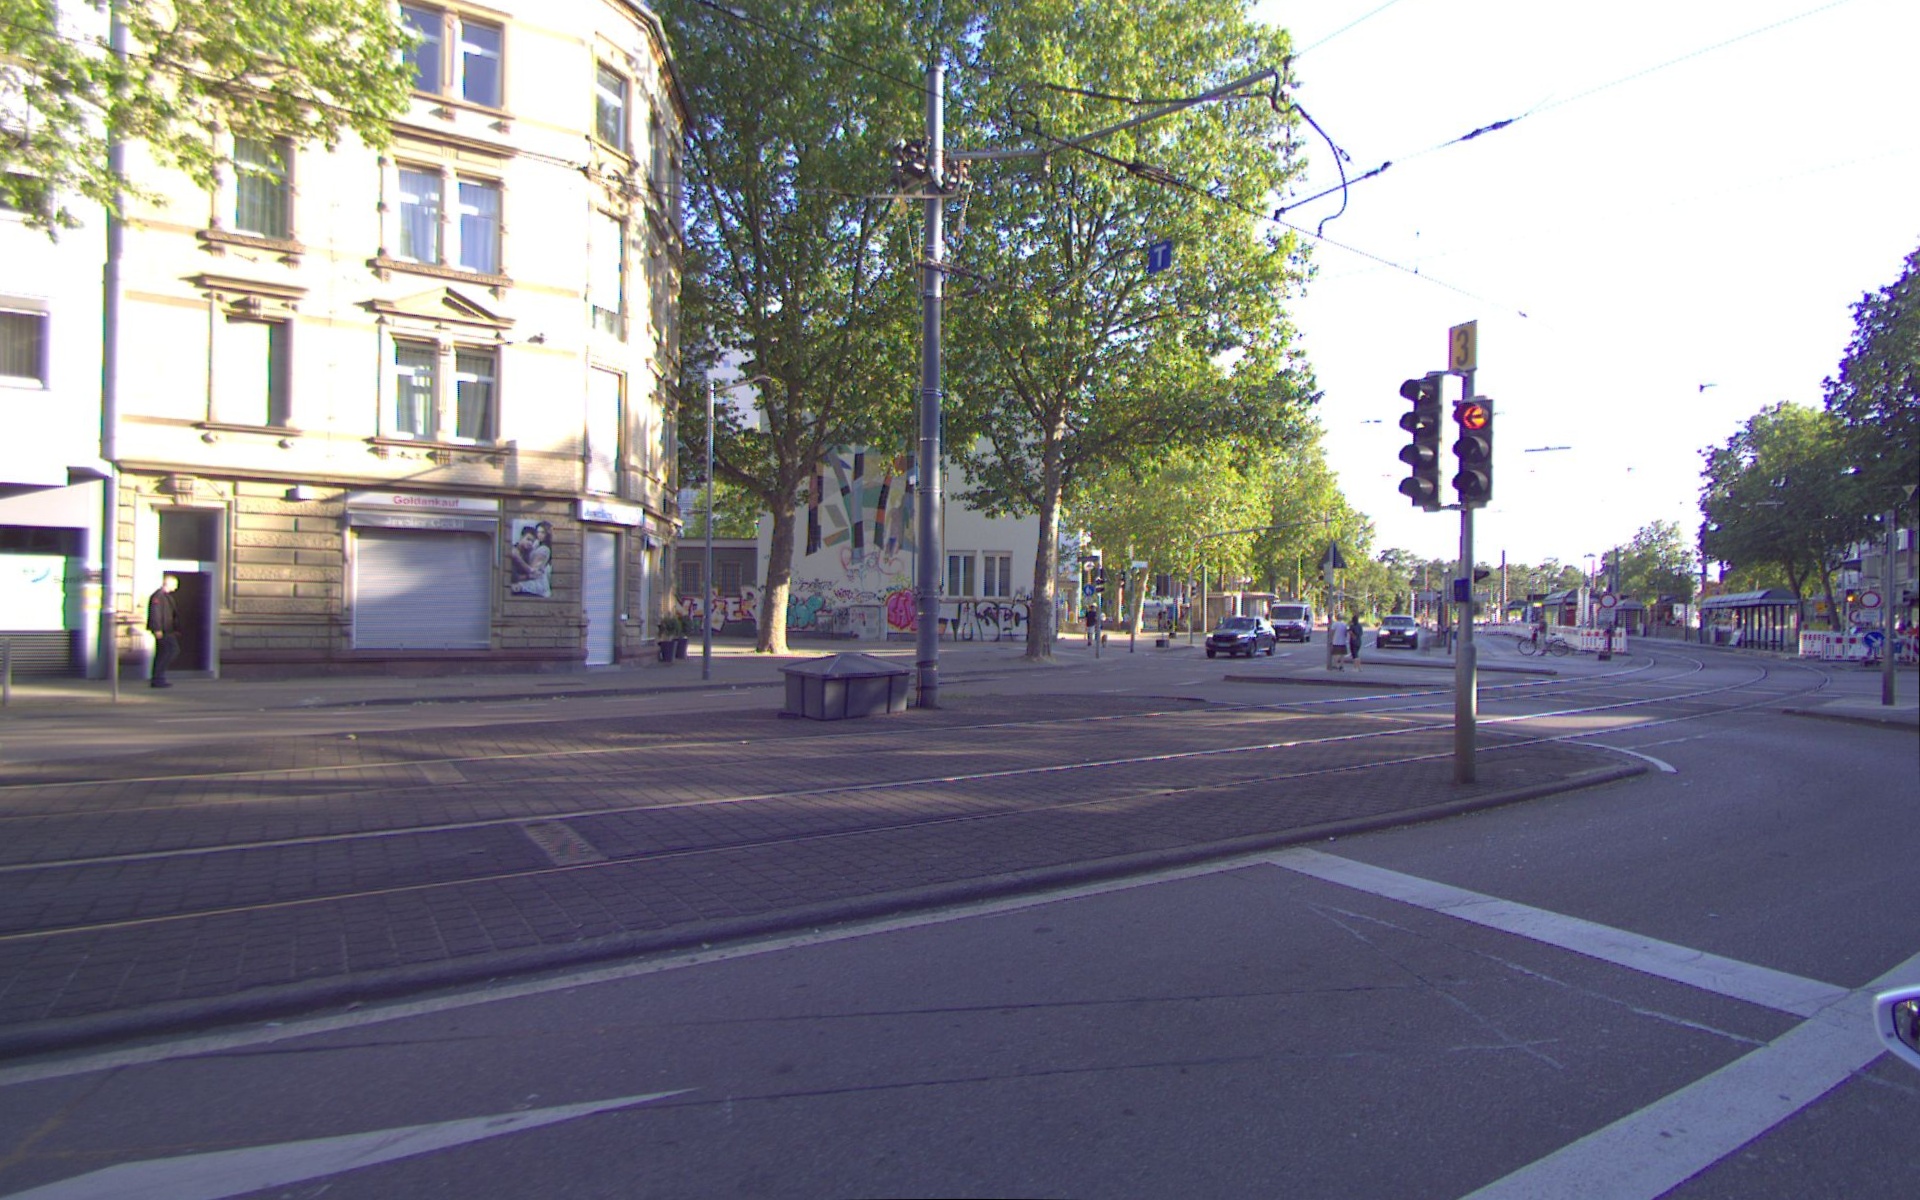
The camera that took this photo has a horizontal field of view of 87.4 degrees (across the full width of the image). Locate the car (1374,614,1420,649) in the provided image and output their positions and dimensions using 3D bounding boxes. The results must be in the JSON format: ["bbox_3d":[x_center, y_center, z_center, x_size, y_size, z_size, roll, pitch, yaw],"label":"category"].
[{"bbox_3d":[21.952,1.559,50.389,1.857,1.606,4.201,1,-1,27],"label":"car"}]

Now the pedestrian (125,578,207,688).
[{"bbox_3d":[-13.517,0.556,17.127,0.957,1.811,0.617,1,1,-25],"label":"pedestrian"}]

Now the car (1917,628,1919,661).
[{"bbox_3d":[42.416,1.938,42.778,1.732,1.483,3.988,0,-1,34],"label":"car"}]

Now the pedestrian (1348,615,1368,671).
[{"bbox_3d":[10.887,1.168,27.488,0.402,1.524,0.516,1,0,32],"label":"pedestrian"}]

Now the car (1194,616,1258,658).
[{"bbox_3d":[10.150,1.375,38.601,1.853,1.492,4.210,1,-1,8],"label":"car"}]

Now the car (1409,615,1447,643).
[{"bbox_3d":[27.859,1.714,59.742,1.857,1.551,4.201,1,-1,27],"label":"car"}]

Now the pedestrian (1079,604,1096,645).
[{"bbox_3d":[5.544,1.067,43.547,0.663,1.733,0.432,2,1,8],"label":"pedestrian"}]

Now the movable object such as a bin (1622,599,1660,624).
[{"bbox_3d":[70.101,1.222,103.447,2.455,2.510,5.350,1,-1,26],"label":"movable object such as a bin"}]

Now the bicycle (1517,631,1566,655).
[{"bbox_3d":[25.221,1.856,43.607,1.811,0.955,0.463,1,-1,25],"label":"bicycle"}]

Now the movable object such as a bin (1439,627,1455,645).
[{"bbox_3d":[24.799,1.838,51.163,0.660,0.878,0.701,2,1,28],"label":"movable object such as a bin"}]

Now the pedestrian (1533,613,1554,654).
[{"bbox_3d":[25.071,1.450,43.178,0.708,1.748,0.399,1,0,25],"label":"pedestrian"}]

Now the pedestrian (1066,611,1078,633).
[{"bbox_3d":[7.405,1.460,66.601,0.663,1.414,0.693,2,1,0],"label":"pedestrian"}]

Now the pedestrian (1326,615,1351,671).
[{"bbox_3d":[10.343,1.164,27.429,0.513,1.524,0.592,1,0,32],"label":"pedestrian"}]

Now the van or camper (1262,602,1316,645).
[{"bbox_3d":[18.939,1.343,57.677,2.134,2.350,5.097,1,-1,28],"label":"van or camper"}]
